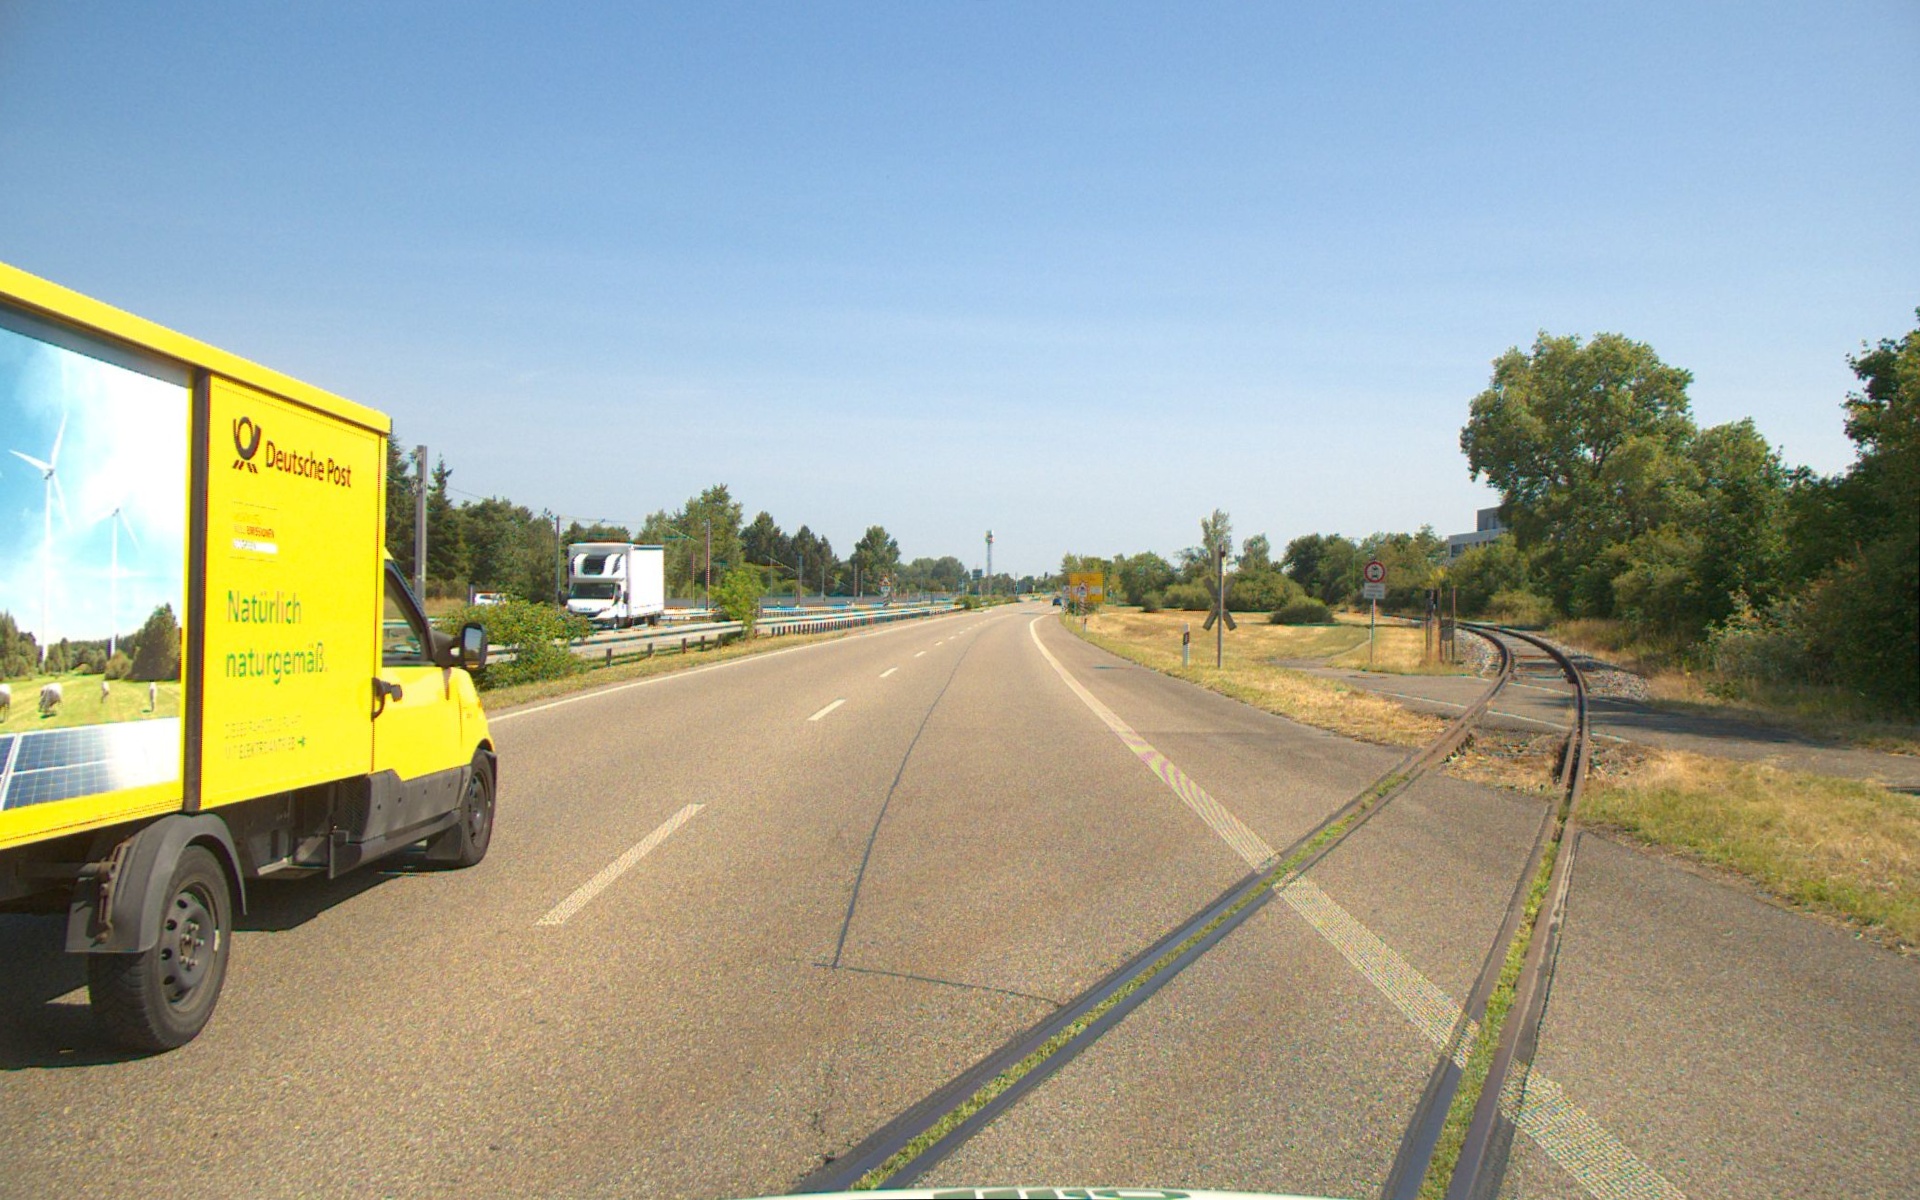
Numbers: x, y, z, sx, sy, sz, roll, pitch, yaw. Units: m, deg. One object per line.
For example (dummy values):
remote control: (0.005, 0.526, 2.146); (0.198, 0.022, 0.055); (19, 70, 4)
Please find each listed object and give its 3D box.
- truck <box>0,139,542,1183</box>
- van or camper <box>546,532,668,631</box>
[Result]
truck: (-3.383, 0.129, 6.518); (2.069, 2.500, 5.916); (0, 0, -1)
van or camper: (-14.239, -0.734, 67.495); (2.816, 3.745, 8.646); (0, 0, 2)
